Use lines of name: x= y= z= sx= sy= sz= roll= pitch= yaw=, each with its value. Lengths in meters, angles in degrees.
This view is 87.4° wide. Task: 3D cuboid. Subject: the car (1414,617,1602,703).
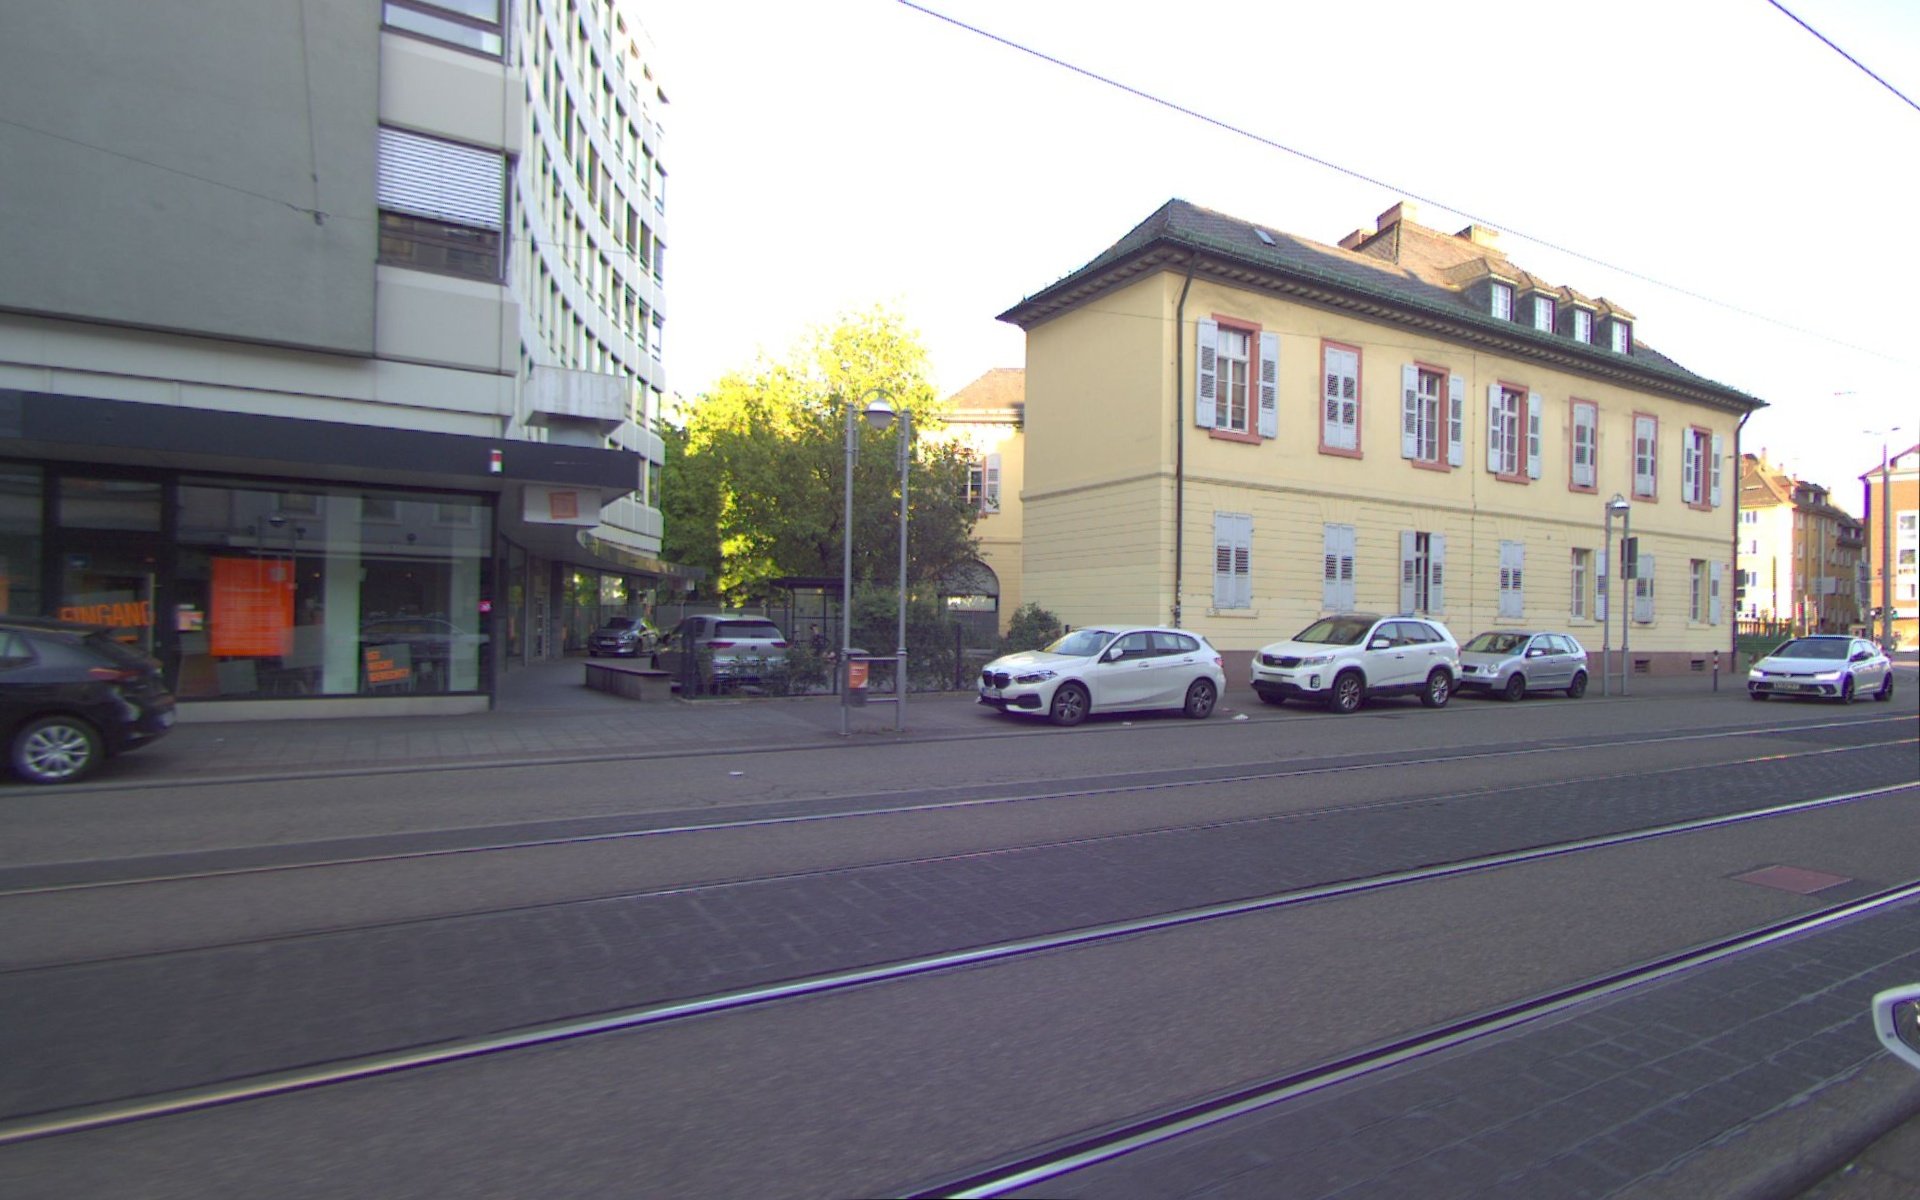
car: x=12.046 y=1.257 z=22.028 sx=4.168 sy=1.639 sz=1.802 roll=1 pitch=1 yaw=-32

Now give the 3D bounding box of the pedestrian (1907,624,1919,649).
pedestrian: x=73.398 y=2.811 z=77.063 sx=0.831 sy=1.893 sz=0.932 roll=1 pitch=1 yaw=-39

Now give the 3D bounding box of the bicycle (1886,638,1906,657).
bicycle: x=68.157 y=3.465 z=73.167 sx=1.995 sy=1.343 sz=0.614 roll=1 pitch=1 yaw=-35

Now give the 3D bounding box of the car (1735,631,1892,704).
car: x=19.638 y=1.494 z=23.071 sx=3.994 sy=1.532 sz=1.795 roll=2 pitch=-1 yaw=-35

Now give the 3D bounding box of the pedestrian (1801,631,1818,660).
pedestrian: x=58.078 y=3.107 z=68.683 sx=0.872 sy=1.892 sz=0.972 roll=0 pitch=-1 yaw=39

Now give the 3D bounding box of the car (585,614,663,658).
car: x=-12.033 y=1.267 z=36.218 sx=1.726 sy=1.505 sz=3.998 roll=1 pitch=-1 yaw=-5

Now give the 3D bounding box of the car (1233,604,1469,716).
car: x=7.427 y=1.078 z=18.957 sx=4.448 sy=1.809 sz=1.802 roll=2 pitch=1 yaw=-32

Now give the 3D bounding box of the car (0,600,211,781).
car: x=-9.386 y=0.762 z=8.918 sx=4.165 sy=1.532 sz=1.678 roll=1 pitch=0 yaw=-30

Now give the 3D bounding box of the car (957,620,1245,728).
car: x=2.301 y=1.116 z=16.095 sx=4.378 sy=1.532 sz=1.805 roll=1 pitch=-2 yaw=-29

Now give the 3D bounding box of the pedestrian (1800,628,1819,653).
pedestrian: x=66.828 y=3.178 z=79.019 sx=1.007 sy=1.970 sz=1.097 roll=0 pitch=-1 yaw=33

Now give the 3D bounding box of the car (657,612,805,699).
car: x=-4.511 y=1.002 z=19.358 sx=1.823 sy=1.486 sz=3.972 roll=1 pitch=-1 yaw=-28

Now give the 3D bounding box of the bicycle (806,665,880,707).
bicycle: x=-2.705 y=1.949 z=23.031 sx=1.836 sy=0.840 sz=0.671 roll=-1 pitch=-2 yaw=44

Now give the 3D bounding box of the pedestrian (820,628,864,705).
pedestrian: x=-2.705 y=1.503 z=23.079 sx=0.737 sy=1.729 sz=0.671 roll=0 pitch=-1 yaw=44
